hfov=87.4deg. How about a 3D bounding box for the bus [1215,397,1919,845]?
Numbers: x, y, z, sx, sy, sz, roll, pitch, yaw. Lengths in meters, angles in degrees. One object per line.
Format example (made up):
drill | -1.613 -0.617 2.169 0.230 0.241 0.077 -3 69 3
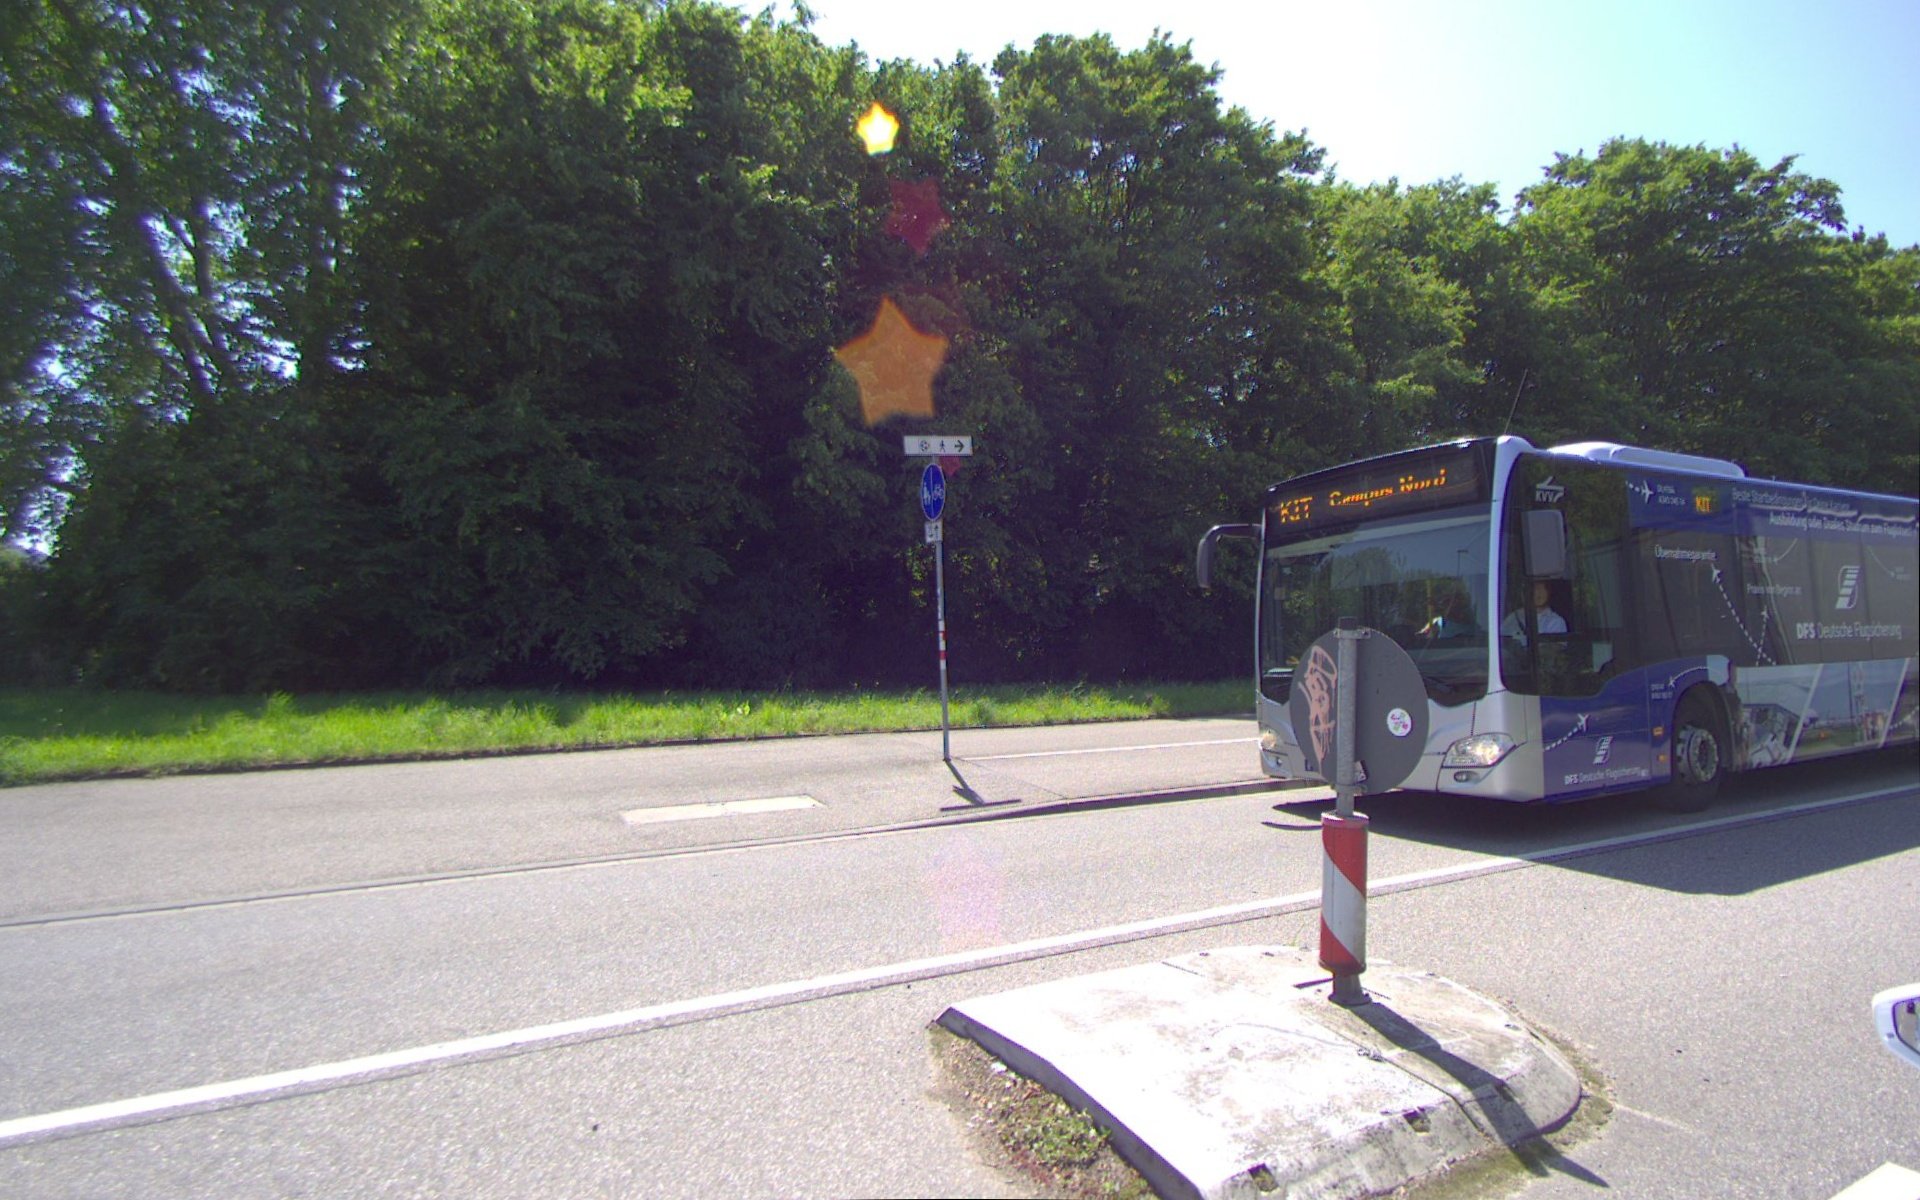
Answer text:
bus | 8.179 0.295 11.063 11.796 3.084 2.738 1 -4 -30

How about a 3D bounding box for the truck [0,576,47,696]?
truck | -24.267 0.794 22.668 2.527 2.948 7.314 1 -3 -18
